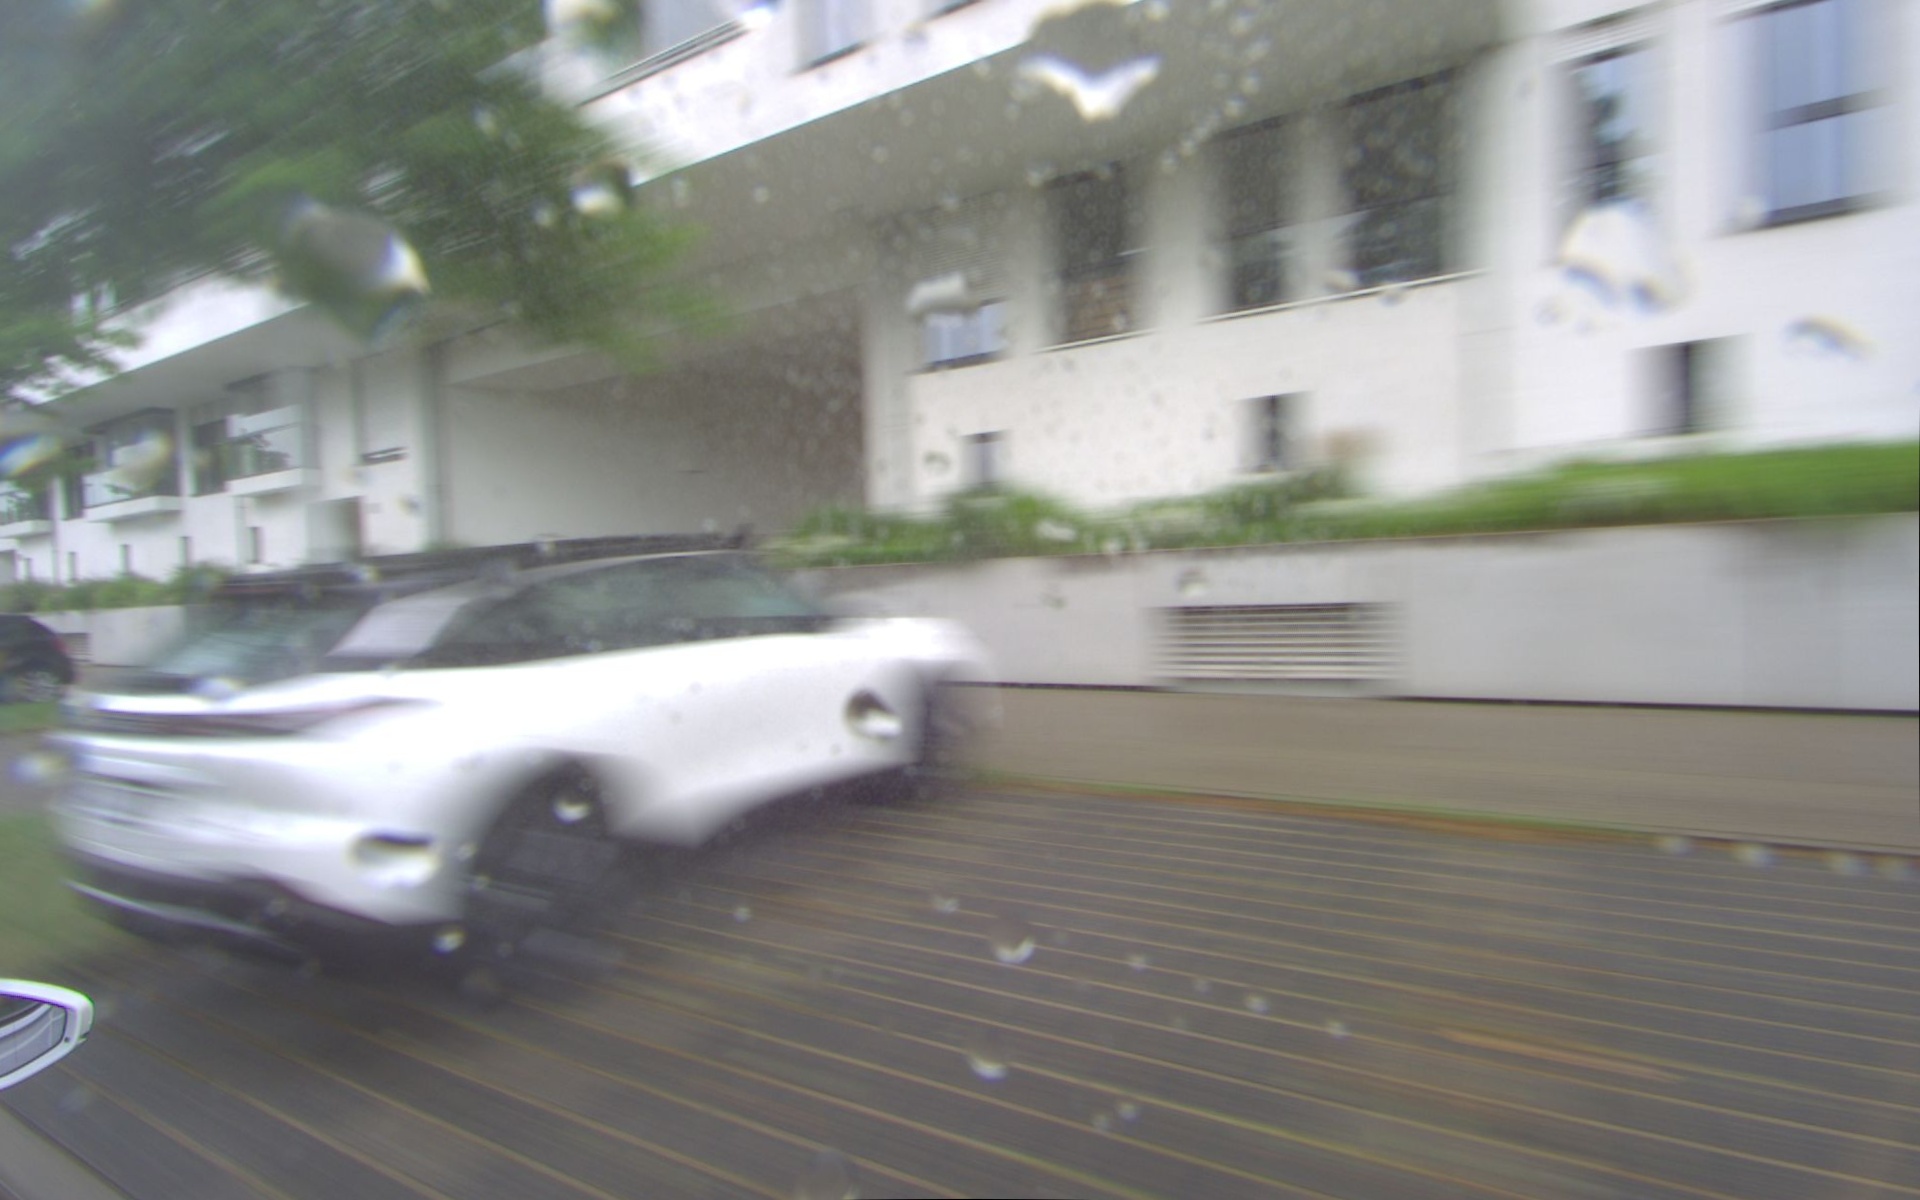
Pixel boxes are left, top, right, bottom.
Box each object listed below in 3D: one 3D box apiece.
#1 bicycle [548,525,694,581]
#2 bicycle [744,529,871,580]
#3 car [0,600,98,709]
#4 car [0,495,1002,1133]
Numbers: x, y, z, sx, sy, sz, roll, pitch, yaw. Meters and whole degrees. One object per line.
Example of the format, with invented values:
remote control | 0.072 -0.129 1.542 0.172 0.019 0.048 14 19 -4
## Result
bicycle | -7.484 -1.004 22.251 2.934 1.133 0.907 -1 0 -42
bicycle | -3.683 -1.101 24.193 2.912 1.133 0.914 -1 0 -16
car | -15.375 0.917 14.424 1.907 1.517 3.979 -1 4 29
car | -1.676 0.438 5.202 1.858 1.710 4.527 -1 6 29
